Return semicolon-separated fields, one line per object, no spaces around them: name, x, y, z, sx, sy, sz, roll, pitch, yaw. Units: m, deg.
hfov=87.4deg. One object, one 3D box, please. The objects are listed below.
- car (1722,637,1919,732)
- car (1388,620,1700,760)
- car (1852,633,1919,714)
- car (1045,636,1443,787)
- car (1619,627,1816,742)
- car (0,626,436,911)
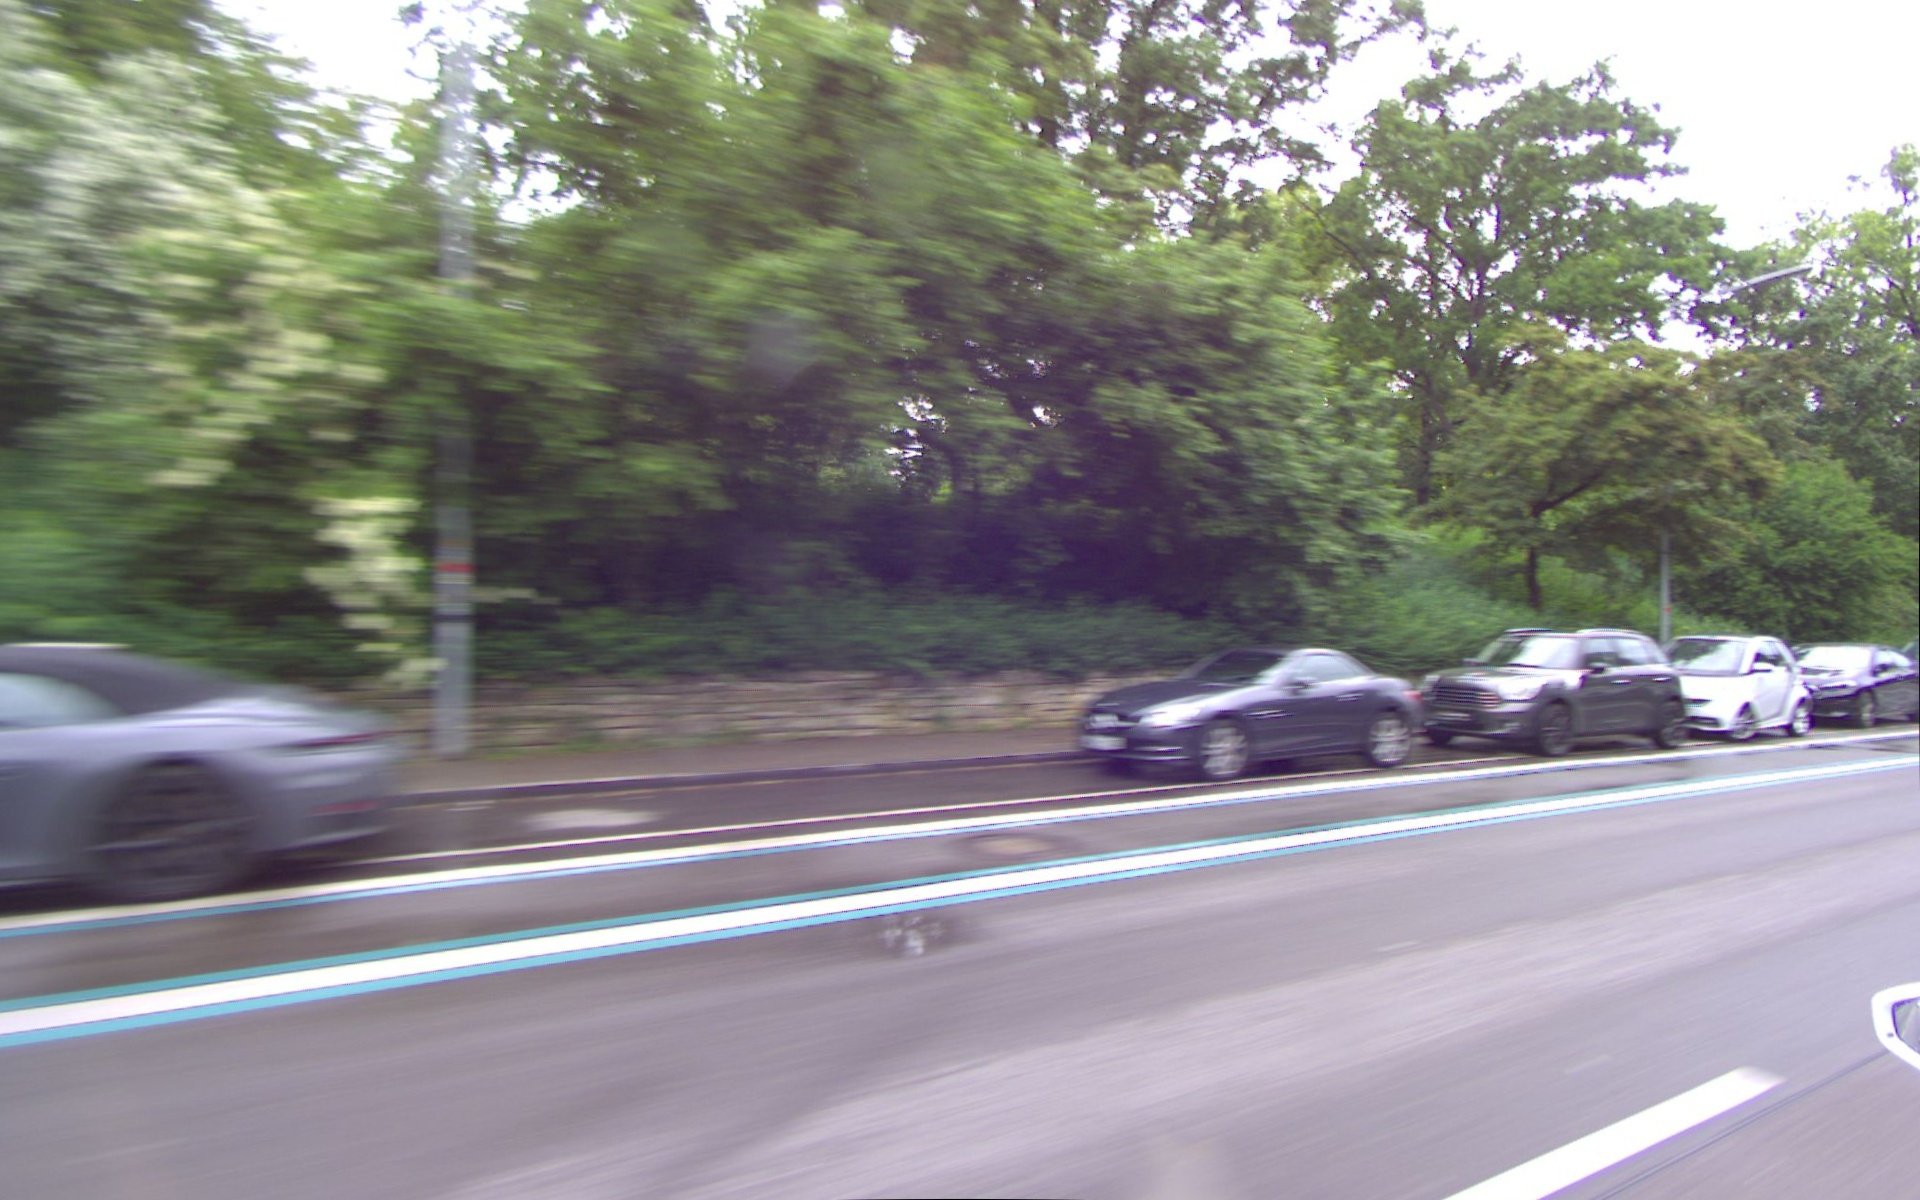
car;16.158;1.499;18.546;4.417;1.508;1.799;2;-1;-31
car;7.831;1.121;13.409;4.087;1.605;1.689;2;-1;-28
car;21.182;1.570;21.448;4.415;1.582;1.871;2;-1;-30
car;3.125;1.108;10.893;4.140;1.318;1.689;2;-1;-28
car;11.768;1.257;15.588;2.950;1.592;1.453;2;-1;-31
car;-5.399;0.831;5.478;4.418;1.321;1.861;2;-1;-31
